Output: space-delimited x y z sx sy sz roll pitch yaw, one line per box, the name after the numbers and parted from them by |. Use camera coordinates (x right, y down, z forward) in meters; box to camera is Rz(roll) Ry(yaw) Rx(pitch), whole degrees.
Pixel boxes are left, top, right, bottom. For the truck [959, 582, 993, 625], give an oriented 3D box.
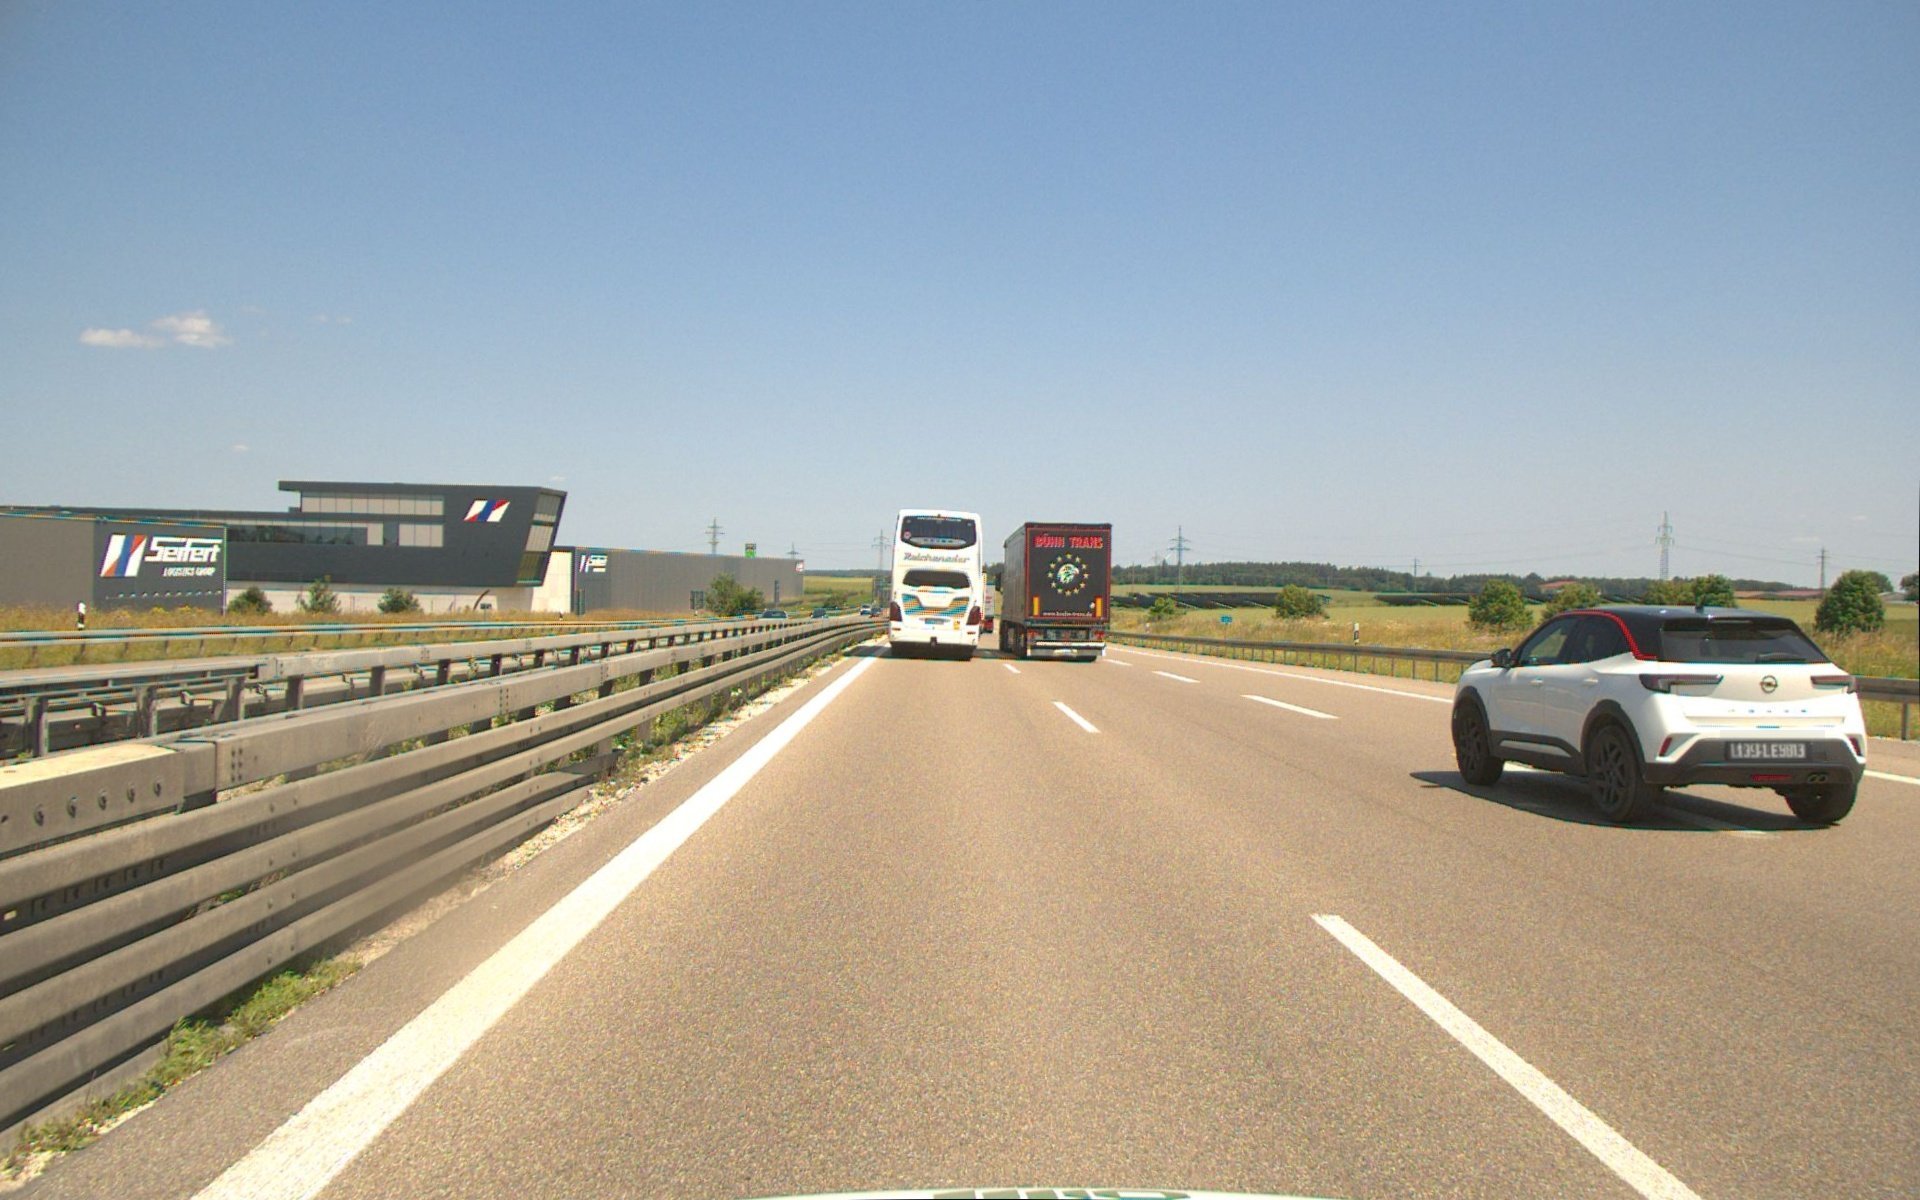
1.312 0.288 139.548 2.530 3.460 8.680 0 0 -2 | truck

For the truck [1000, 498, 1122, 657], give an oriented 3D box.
3.078 -0.521 54.420 3.310 4.542 13.567 0 -1 1 | truck

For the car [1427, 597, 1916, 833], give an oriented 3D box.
5.438 0.769 13.340 1.854 1.556 4.258 0 0 -5 | car

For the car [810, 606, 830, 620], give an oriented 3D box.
-14.892 1.374 176.104 1.953 1.445 3.998 0 0 -2 | car

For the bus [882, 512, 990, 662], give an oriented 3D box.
-0.836 -0.476 49.208 2.921 4.044 9.101 0 2 -3 | bus

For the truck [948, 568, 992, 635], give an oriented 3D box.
0.544 0.075 99.451 2.388 3.855 6.491 0 0 -2 | truck

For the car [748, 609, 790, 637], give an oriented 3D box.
-10.390 1.233 90.083 1.953 1.437 3.998 0 0 -2 | car

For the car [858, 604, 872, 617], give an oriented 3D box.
-13.930 1.579 243.528 1.953 1.870 3.998 0 0 -2 | car
